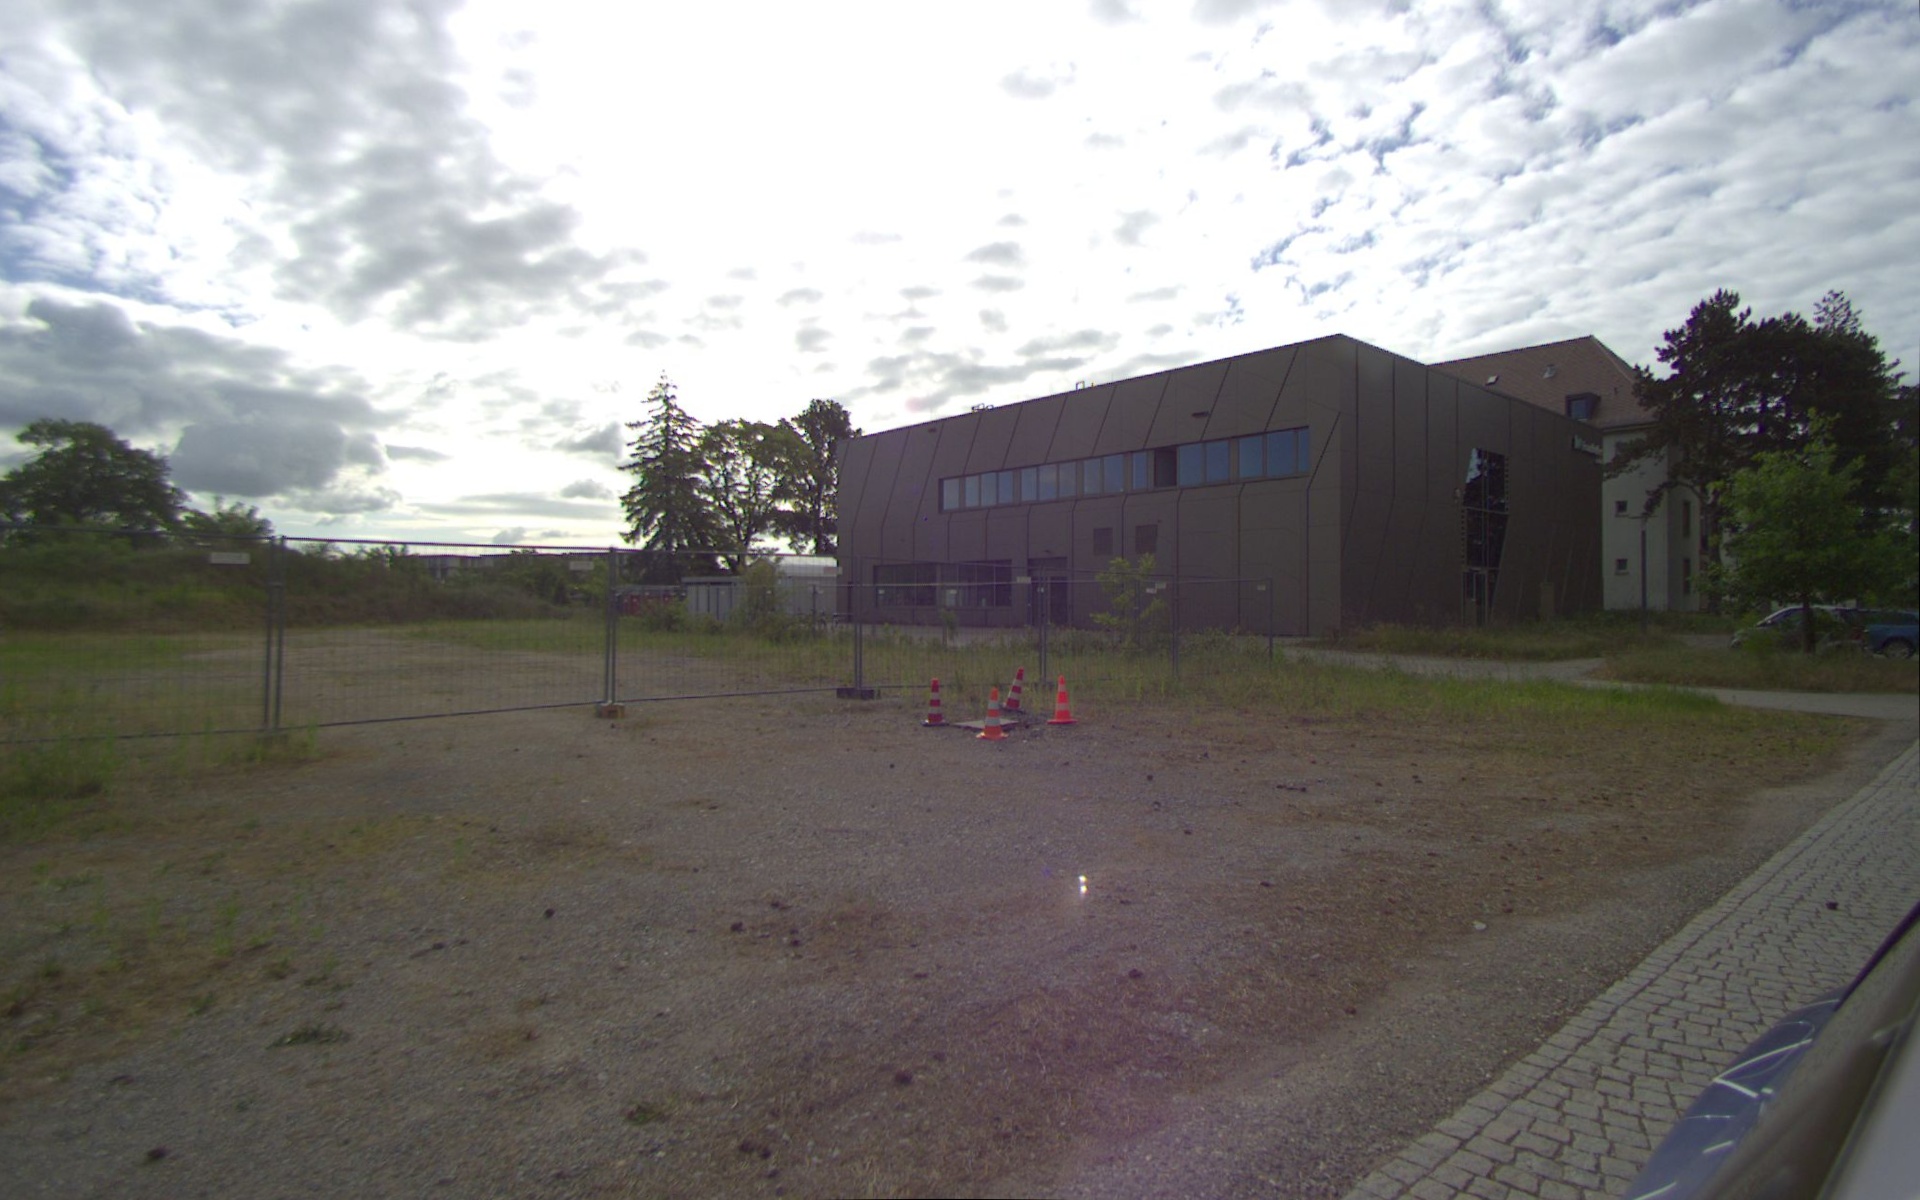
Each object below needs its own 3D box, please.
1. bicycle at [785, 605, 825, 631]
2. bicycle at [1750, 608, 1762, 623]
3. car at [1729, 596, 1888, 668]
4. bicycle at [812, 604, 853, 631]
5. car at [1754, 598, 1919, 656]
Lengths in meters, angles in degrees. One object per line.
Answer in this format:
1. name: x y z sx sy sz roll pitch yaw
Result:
1. bicycle: -6.643 0.781 43.359 1.624 1.099 0.512 0 -1 -32
2. bicycle: 61.622 1.173 78.385 1.628 1.142 0.476 1 -1 -43
3. car: 20.751 0.736 24.812 1.623 1.576 2.716 1 1 -39
4. bicycle: -5.244 0.706 41.568 1.624 1.099 0.512 0 -1 -32
5. car: 26.194 0.758 29.550 1.800 1.493 4.496 1 1 -43
